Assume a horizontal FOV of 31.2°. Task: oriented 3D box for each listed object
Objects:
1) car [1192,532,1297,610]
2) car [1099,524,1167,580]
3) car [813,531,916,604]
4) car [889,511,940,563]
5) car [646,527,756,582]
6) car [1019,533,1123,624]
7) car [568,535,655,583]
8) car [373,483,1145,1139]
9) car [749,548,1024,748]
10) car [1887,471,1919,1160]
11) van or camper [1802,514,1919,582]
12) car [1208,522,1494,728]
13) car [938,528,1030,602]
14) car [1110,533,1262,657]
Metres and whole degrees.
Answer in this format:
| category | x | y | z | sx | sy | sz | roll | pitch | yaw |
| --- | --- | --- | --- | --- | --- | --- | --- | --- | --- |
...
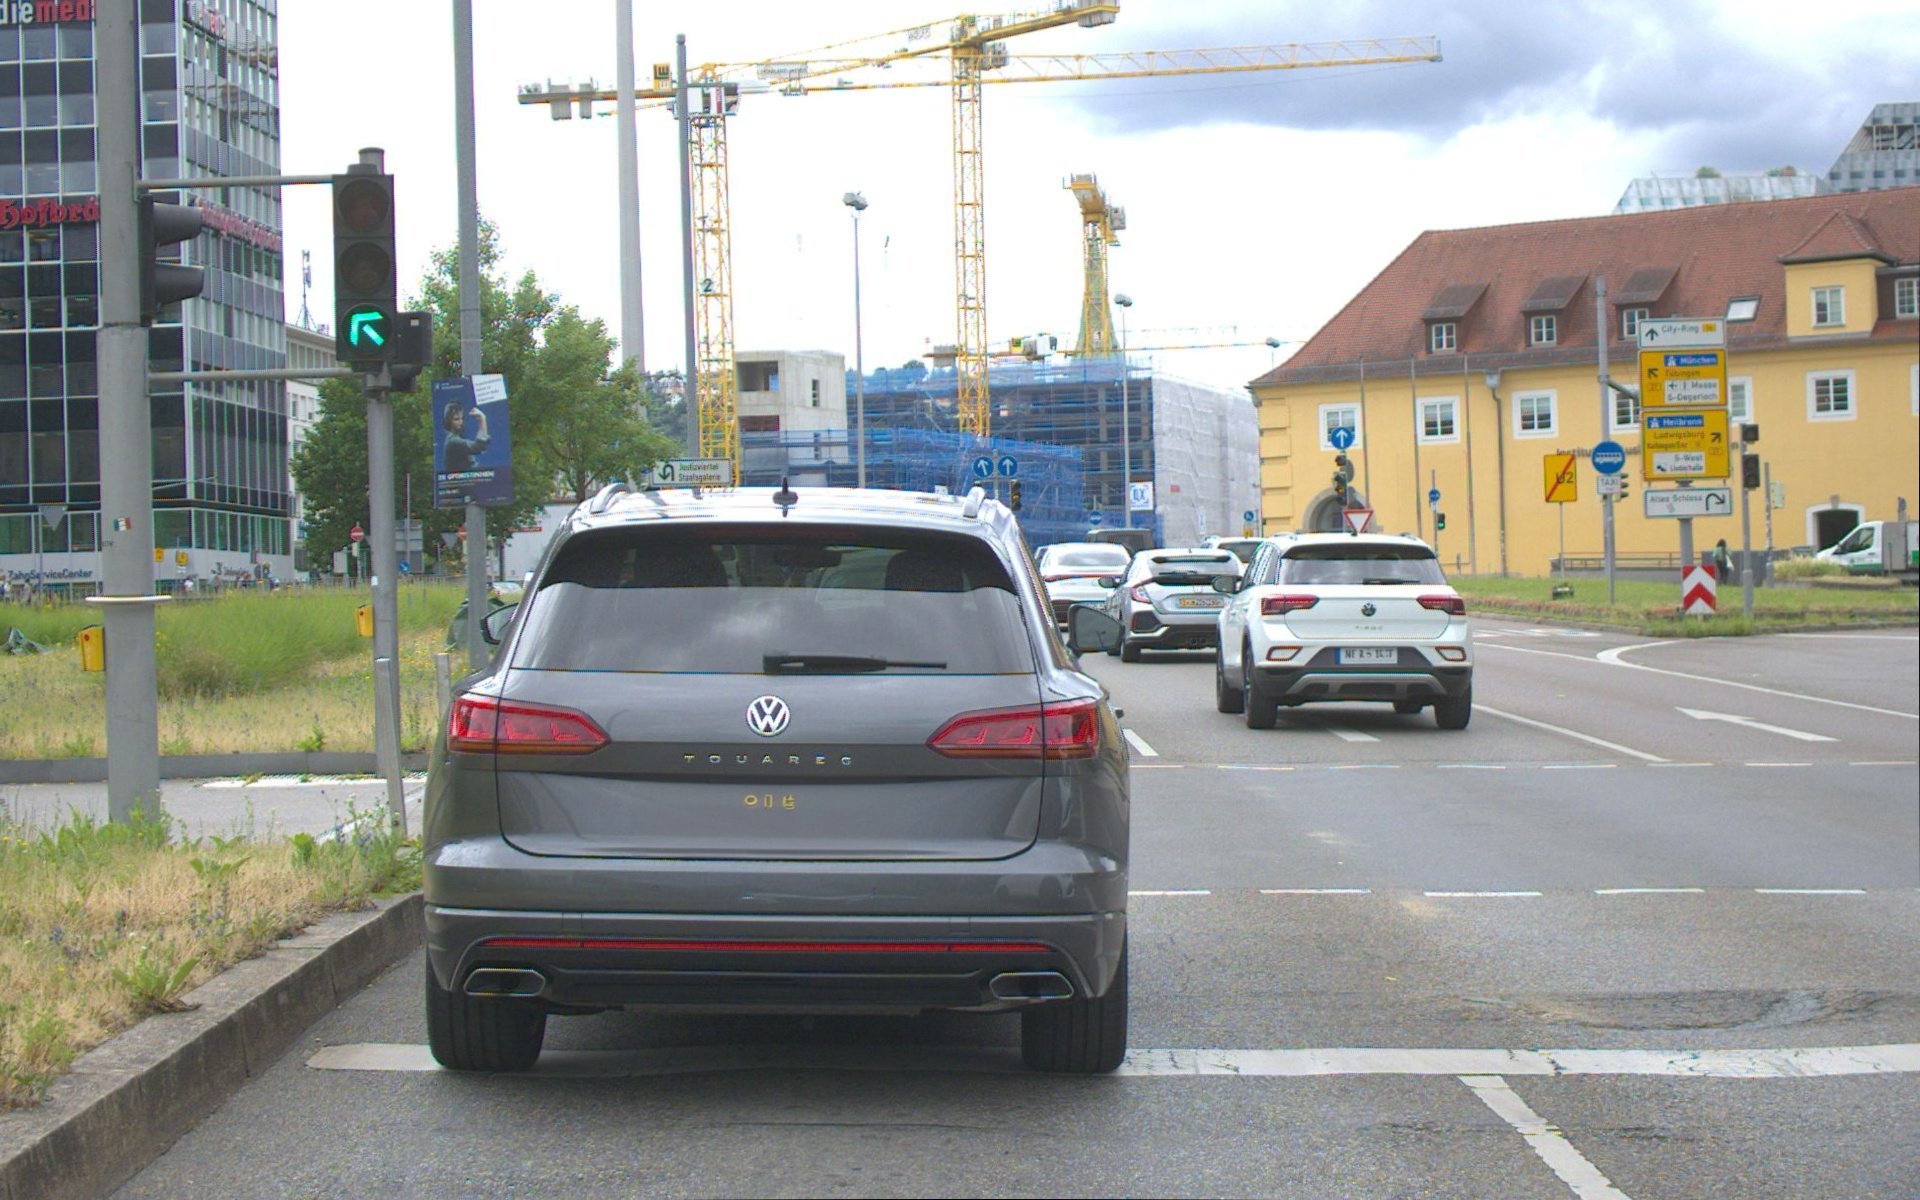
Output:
| category | x | y | z | sx | sy | sz | roll | pitch | yaw |
| --- | --- | --- | --- | --- | --- | --- | --- | --- | --- |
| car | 5.684 | -0.611 | 69.023 | 1.803 | 1.497 | 3.981 | 0 | 1 | 1 |
| car | 4.727 | -1.330 | 94.327 | 1.719 | 1.497 | 3.981 | 0 | 1 | 1 |
| car | -2.056 | -0.718 | 73.165 | 1.814 | 1.491 | 3.907 | -1 | 1 | -7 |
| car | -1.788 | -2.505 | 135.716 | 1.993 | 2.007 | 4.000 | -1 | 1 | -1 |
| car | -7.418 | -1.313 | 98.138 | 2.244 | 1.497 | 4.613 | -1 | 1 | -16 |
| car | 1.958 | -0.396 | 59.645 | 1.719 | 1.497 | 3.981 | 0 | 1 | 3 |
| car | -11.060 | -1.308 | 108.827 | 1.718 | 1.497 | 3.982 | -1 | 1 | -22 |
| car | -0.528 | 0.487 | 10.670 | 1.933 | 1.641 | 4.000 | 0 | 1 | -1 |
| car | -0.560 | 0.320 | 27.116 | 1.993 | 1.382 | 4.000 | -1 | 2 | -1 |
| car | 3.234 | 0.550 | 6.260 | 1.819 | 1.641 | 4.379 | 0 | 1 | -1 |
| van or camper | 28.678 | -1.563 | 103.763 | 6.017 | 2.007 | 2.015 | 0 | 1 | 35 |
| car | 3.156 | 0.152 | 28.440 | 1.893 | 1.580 | 3.801 | 0 | 1 | 0 |
| car | 0.529 | -0.817 | 78.796 | 1.814 | 1.491 | 3.907 | -4 | 2 | -3 |
| car | 2.853 | -0.103 | 44.084 | 1.719 | 1.497 | 4.144 | 0 | 1 | 1 |
